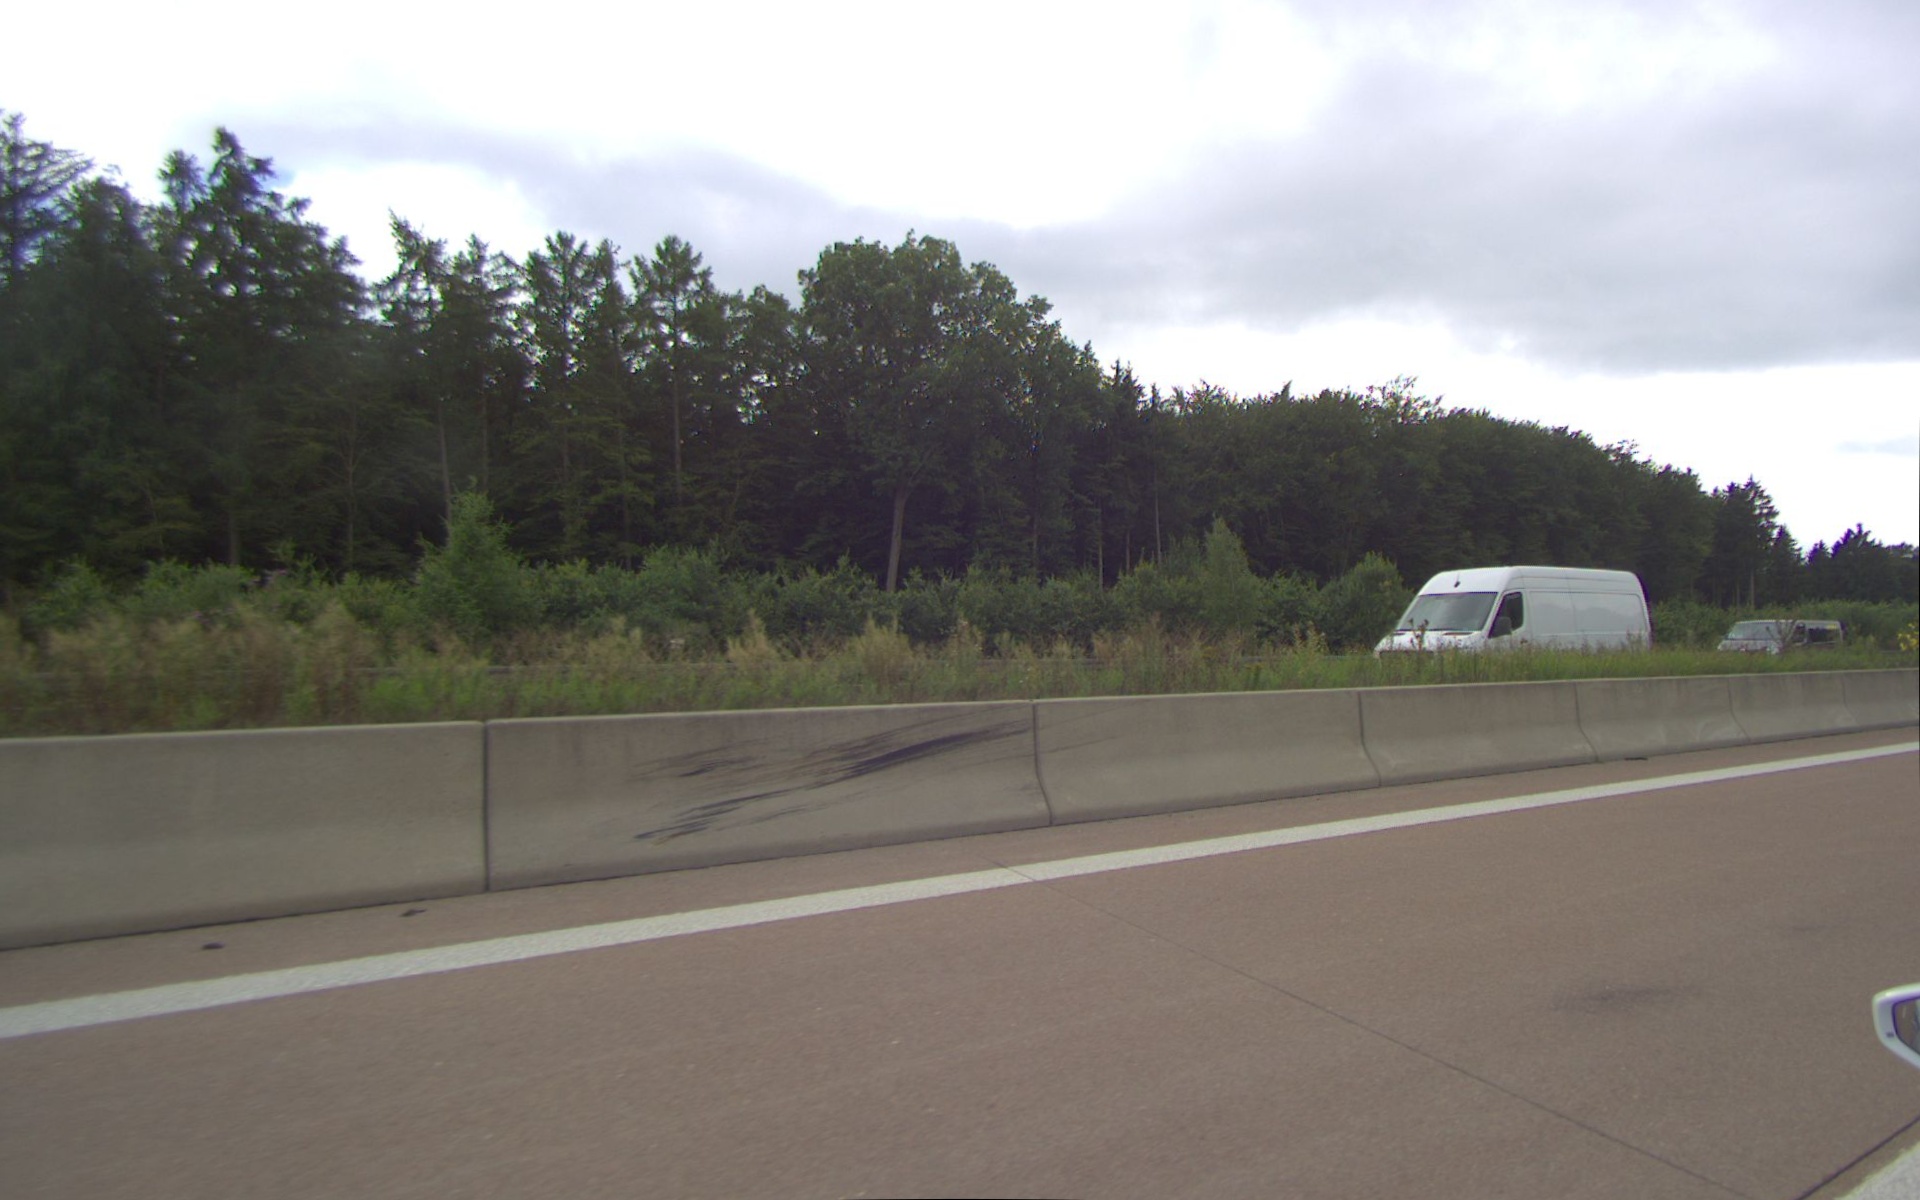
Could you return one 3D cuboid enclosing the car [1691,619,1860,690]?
[{"bbox_3d":[26.666,1.724,32.776,6.304,2.040,2.211,1,1,-31],"label":"car"}]

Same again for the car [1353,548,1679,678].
[{"bbox_3d":[10.964,0.284,19.530,7.401,2.170,2.062,1,1,-31],"label":"car"}]
